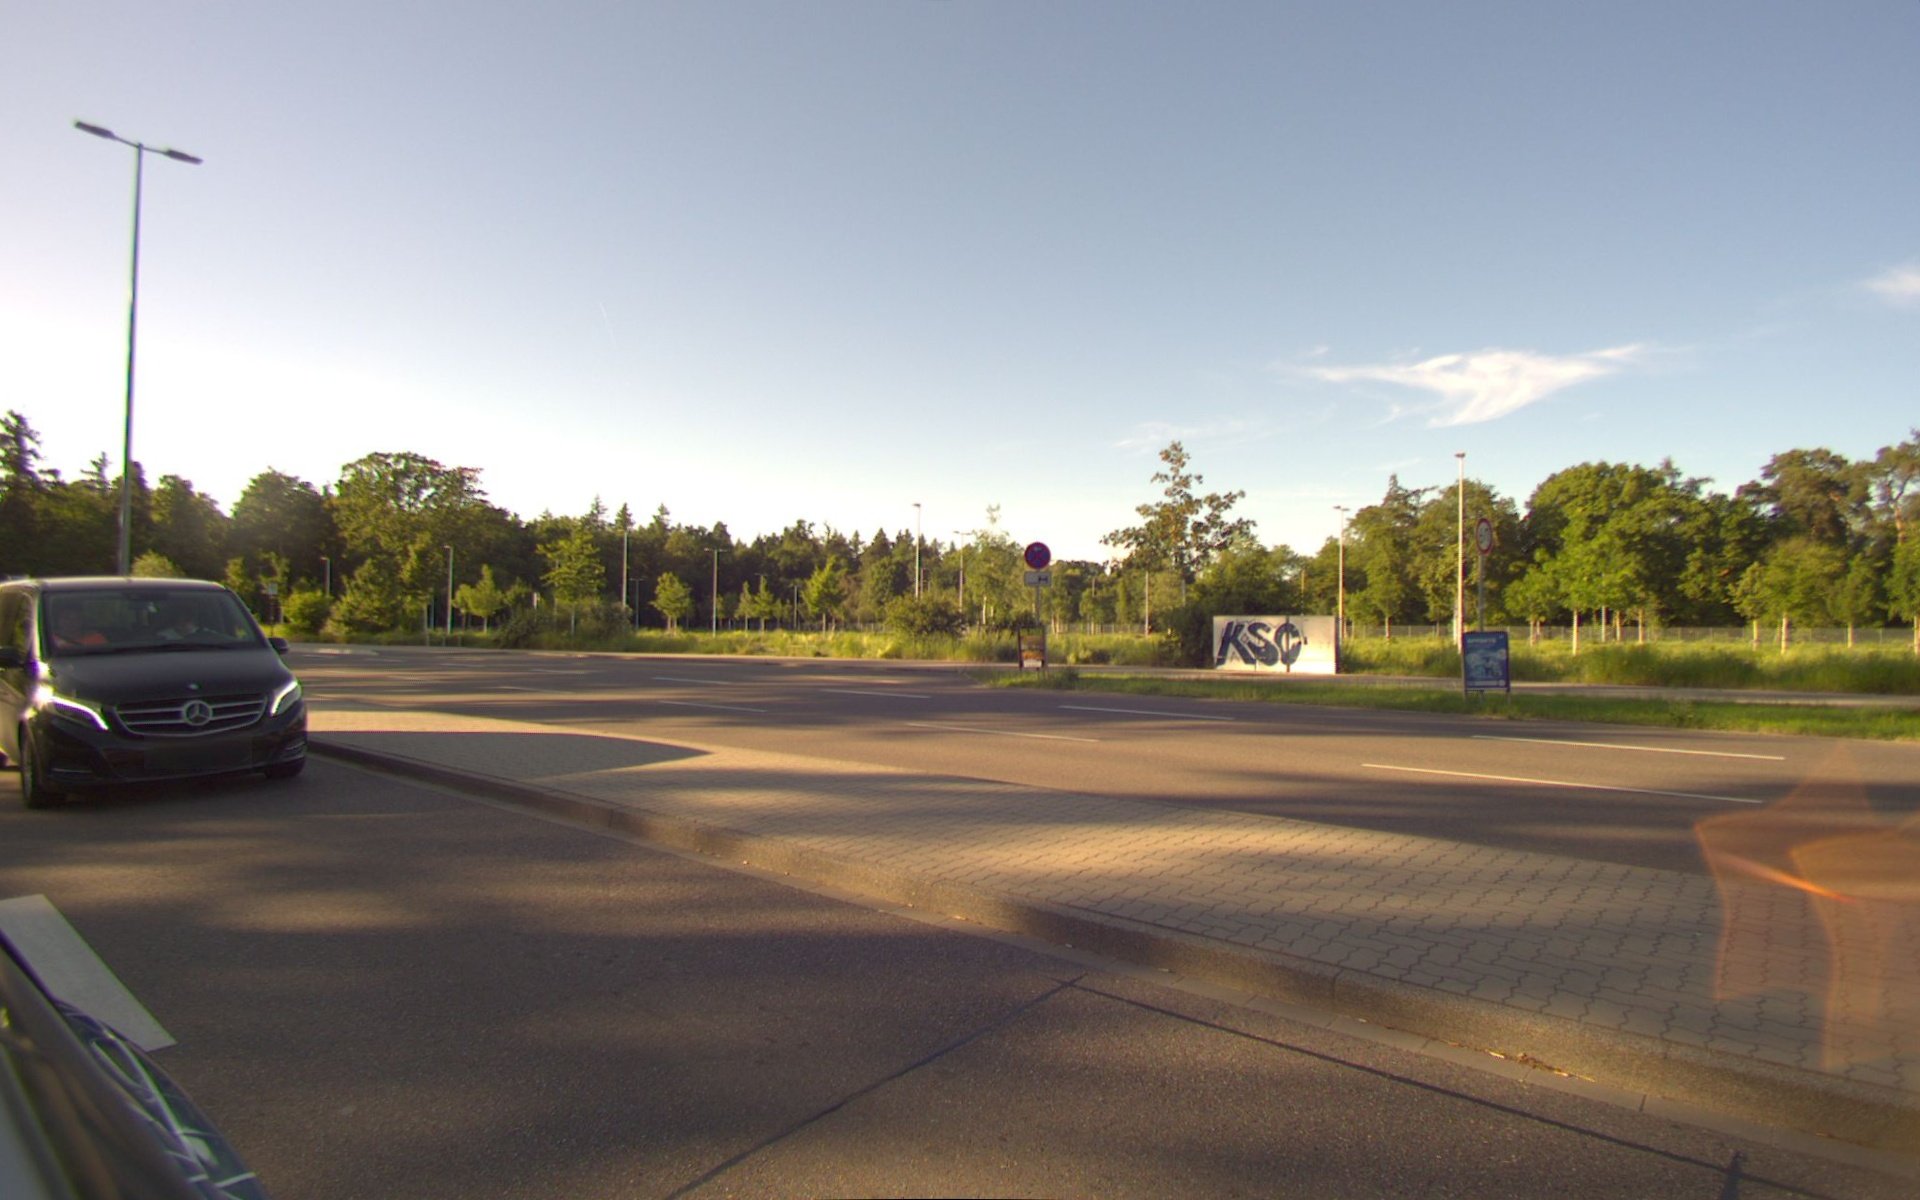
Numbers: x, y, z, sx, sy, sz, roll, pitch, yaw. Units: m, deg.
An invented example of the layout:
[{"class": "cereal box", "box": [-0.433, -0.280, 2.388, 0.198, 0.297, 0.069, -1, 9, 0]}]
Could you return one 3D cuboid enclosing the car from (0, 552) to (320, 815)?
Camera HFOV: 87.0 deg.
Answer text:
[{"class": "car", "box": [-7.916, 0.598, 9.523, 4.871, 1.870, 1.887, 0, 0, 41]}]
